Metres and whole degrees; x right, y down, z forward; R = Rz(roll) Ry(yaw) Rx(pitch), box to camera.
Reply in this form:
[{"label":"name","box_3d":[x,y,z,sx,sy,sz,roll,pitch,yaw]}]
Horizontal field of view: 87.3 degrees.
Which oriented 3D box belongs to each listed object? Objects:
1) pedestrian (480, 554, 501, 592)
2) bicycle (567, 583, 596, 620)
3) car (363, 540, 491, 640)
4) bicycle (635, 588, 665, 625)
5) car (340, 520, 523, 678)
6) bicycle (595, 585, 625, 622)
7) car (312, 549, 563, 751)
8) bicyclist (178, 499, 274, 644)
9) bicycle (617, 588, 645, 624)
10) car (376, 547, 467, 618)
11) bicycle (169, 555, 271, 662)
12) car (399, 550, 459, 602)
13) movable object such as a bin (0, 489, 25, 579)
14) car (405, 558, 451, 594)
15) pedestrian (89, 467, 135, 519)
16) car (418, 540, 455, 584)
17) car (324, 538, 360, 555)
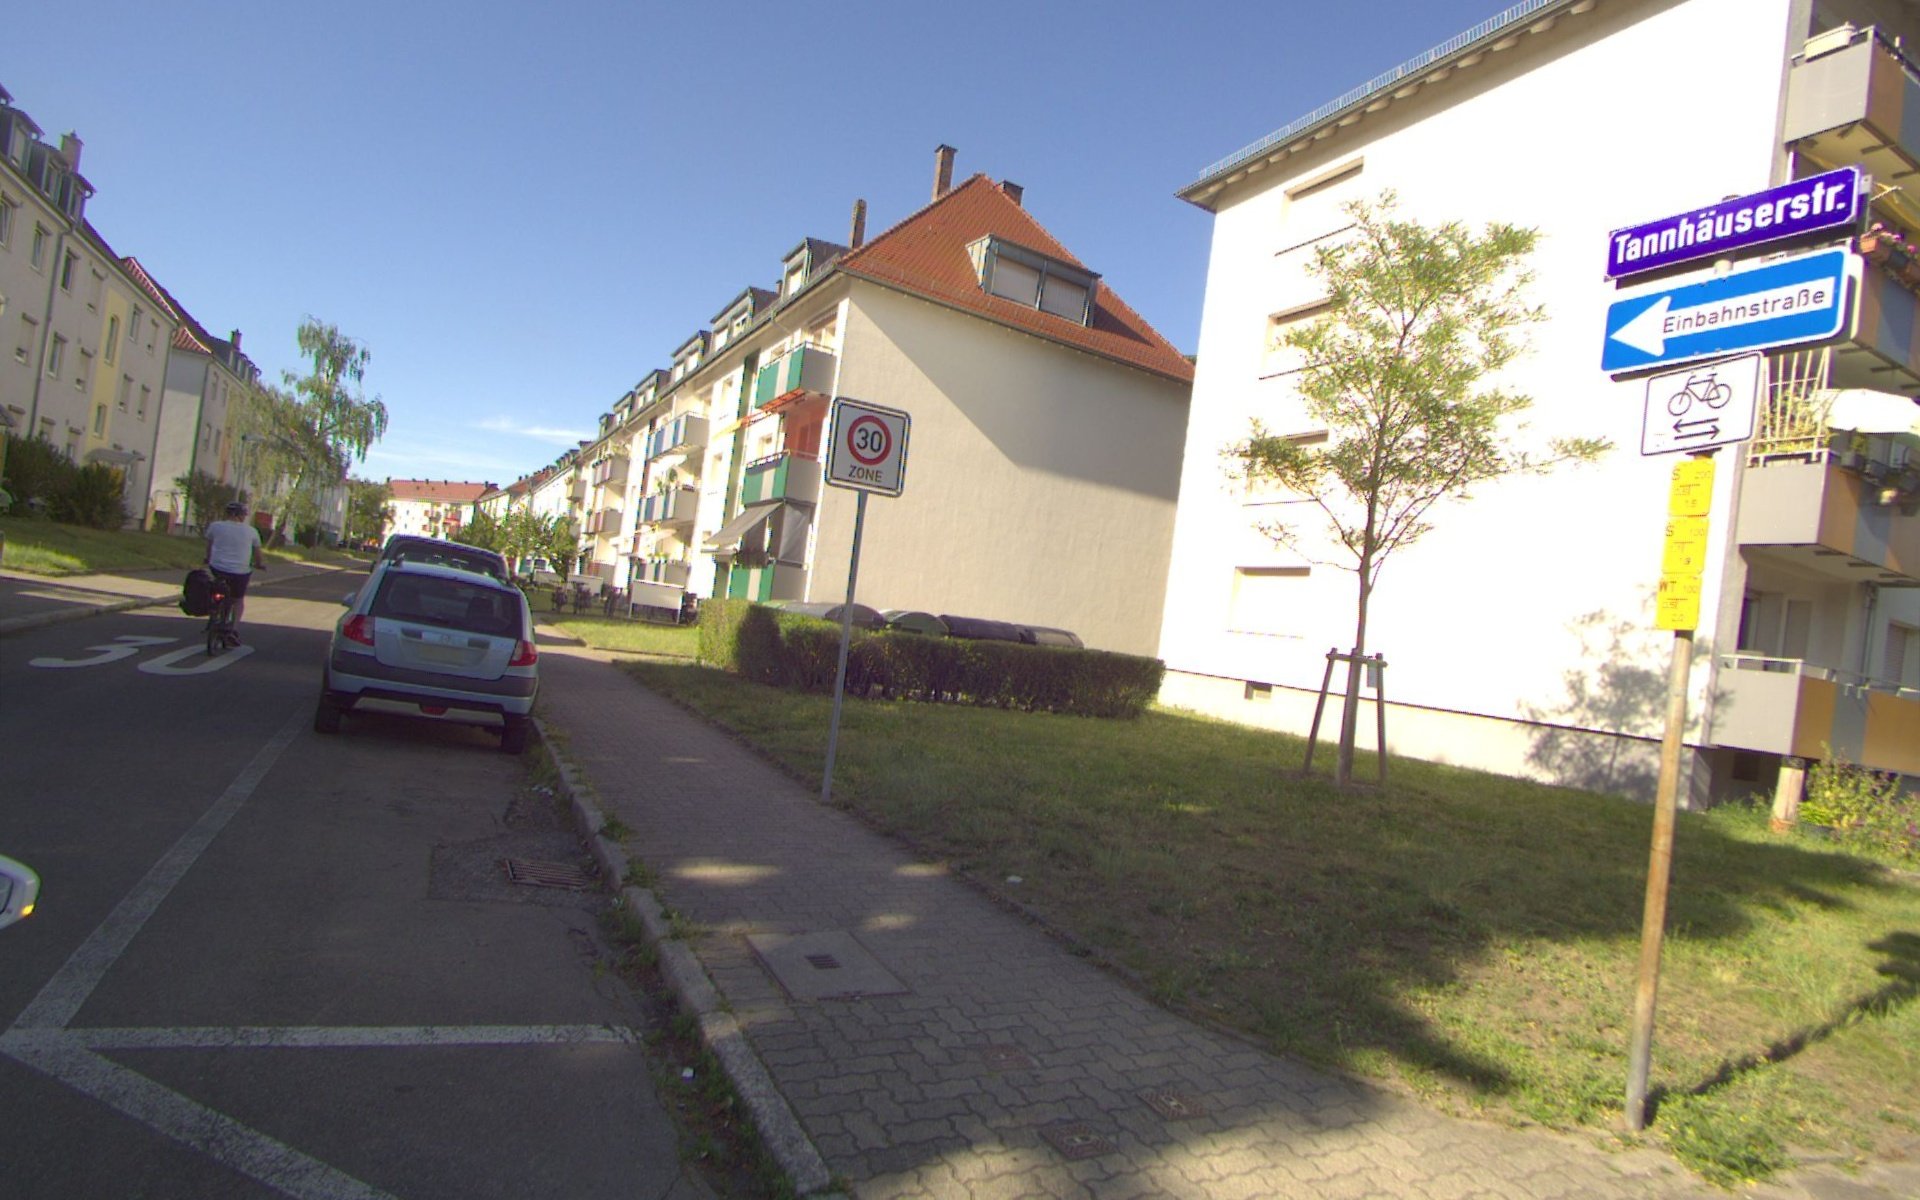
[{"label":"pedestrian","box_3d":[-26.209,-1.518,56.182,0.784,2.038,1.075,7,0,-28]},{"label":"bicycle","box_3d":[-12.605,0.045,33.446,0.554,1.105,1.888,8,-1,-28]},{"label":"car","box_3d":[-10.966,-0.253,20.700,1.968,1.610,4.095,9,-2,-29]},{"label":"bicycle","box_3d":[-10.763,0.213,34.887,0.554,1.117,1.817,8,-1,-28]},{"label":"car","box_3d":[-7.616,-0.060,14.592,1.849,1.750,4.266,8,-2,-28]},{"label":"bicycle","box_3d":[-11.840,0.098,33.960,0.554,1.105,1.888,8,-1,-28]},{"label":"car","box_3d":[-5.119,0.361,9.756,1.642,1.445,3.869,9,-2,-30]},{"label":"bicyclist","box_3d":[-8.885,-0.338,12.208,0.689,1.615,0.785,8,-1,-30]},{"label":"bicycle","box_3d":[-11.316,0.193,34.557,0.510,1.066,1.852,8,-1,-28]},{"label":"car","box_3d":[-13.651,-0.473,25.473,1.744,1.448,3.602,9,-2,-29]},{"label":"bicycle","box_3d":[-8.983,0.076,12.275,0.656,1.140,1.753,9,-2,-29]},{"label":"car","box_3d":[-19.129,-0.881,36.194,1.620,1.507,3.597,10,-3,-29]},{"label":"movable object such as a bin","box_3d":[-16.638,-1.187,16.499,1.480,1.495,1.256,8,-1,-28]},{"label":"car","box_3d":[-27.515,-1.263,52.034,1.879,1.513,4.064,9,-2,-28]},{"label":"pedestrian","box_3d":[-32.200,-4.044,38.226,0.963,1.735,0.940,8,-1,-28]},{"label":"car","box_3d":[-29.829,-2.164,57.319,1.606,2.168,3.972,8,-1,-28]},{"label":"car","box_3d":[-85.036,-7.363,138.372,3.957,1.822,1.985,8,-1,-30]}]
